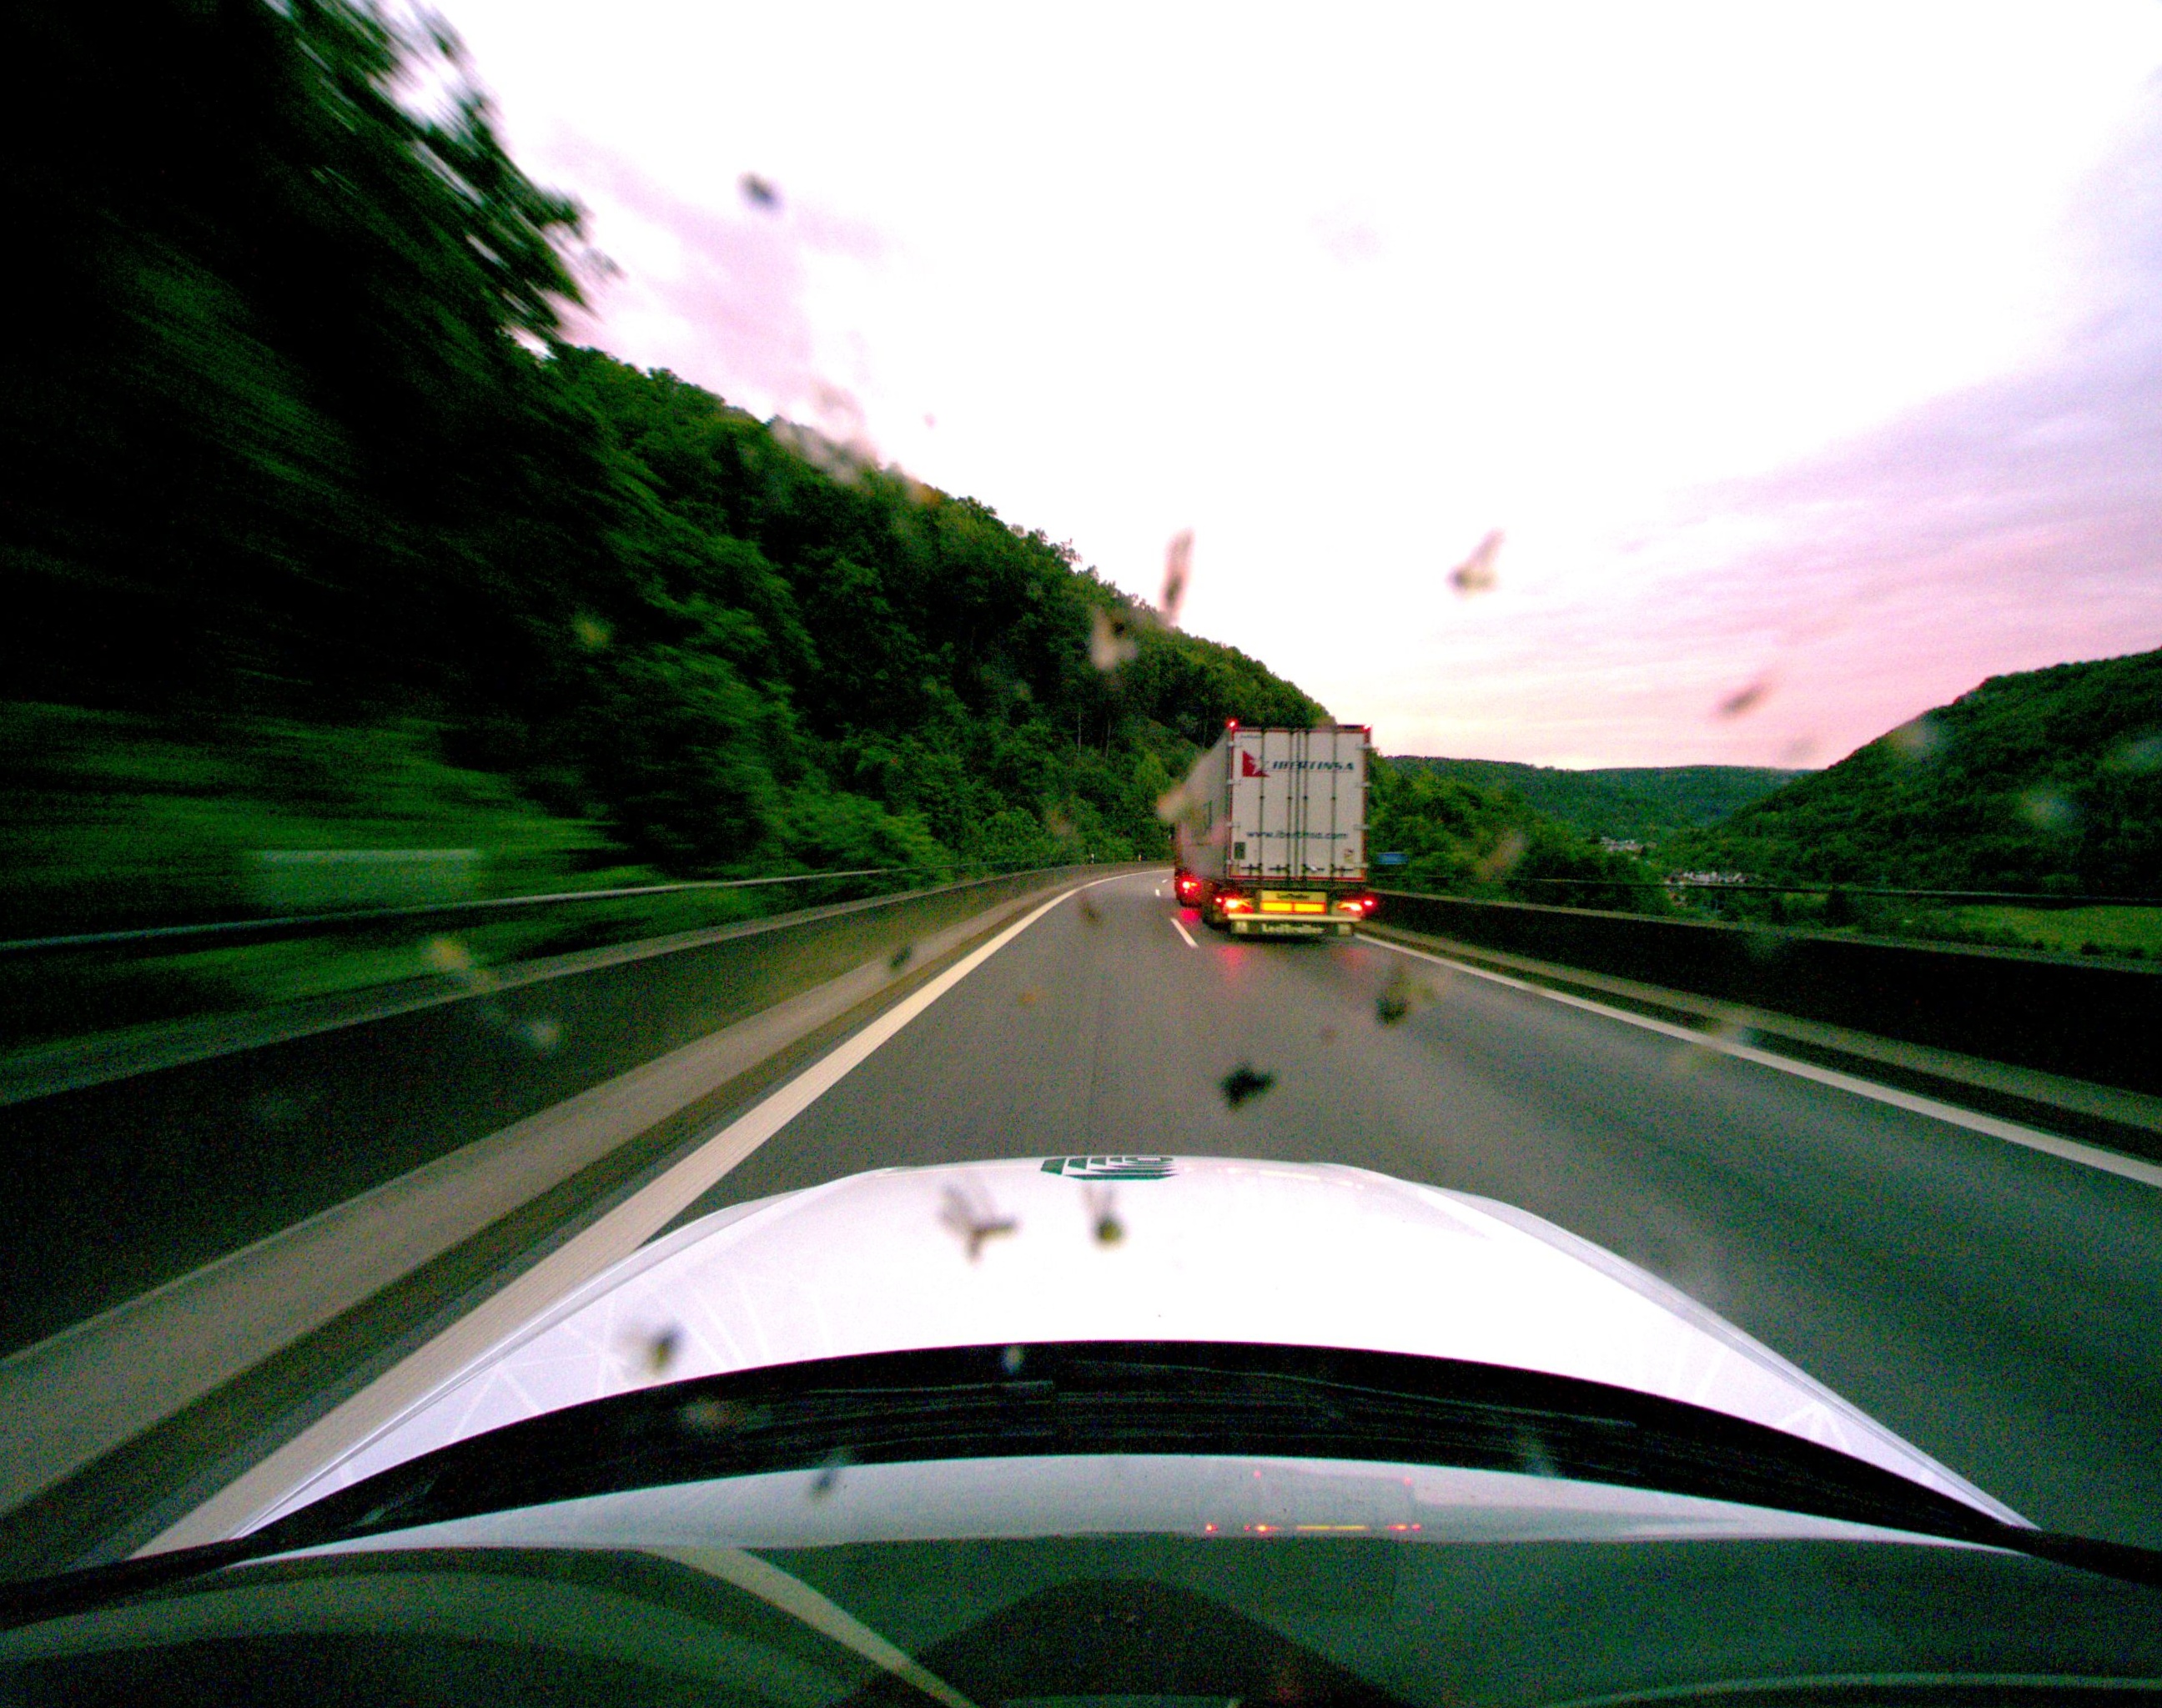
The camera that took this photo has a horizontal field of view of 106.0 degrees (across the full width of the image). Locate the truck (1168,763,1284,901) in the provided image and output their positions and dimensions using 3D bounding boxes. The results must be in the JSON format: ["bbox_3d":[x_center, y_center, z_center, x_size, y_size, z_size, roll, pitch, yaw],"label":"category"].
[{"bbox_3d":[4.792,-0.646,28.317,3.056,4.144,6.451,-2,-1,3],"label":"truck"}]

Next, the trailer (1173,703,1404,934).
[{"bbox_3d":[4.380,-0.508,21.170,3.084,3.970,14.227,1,-1,3],"label":"trailer"}]
